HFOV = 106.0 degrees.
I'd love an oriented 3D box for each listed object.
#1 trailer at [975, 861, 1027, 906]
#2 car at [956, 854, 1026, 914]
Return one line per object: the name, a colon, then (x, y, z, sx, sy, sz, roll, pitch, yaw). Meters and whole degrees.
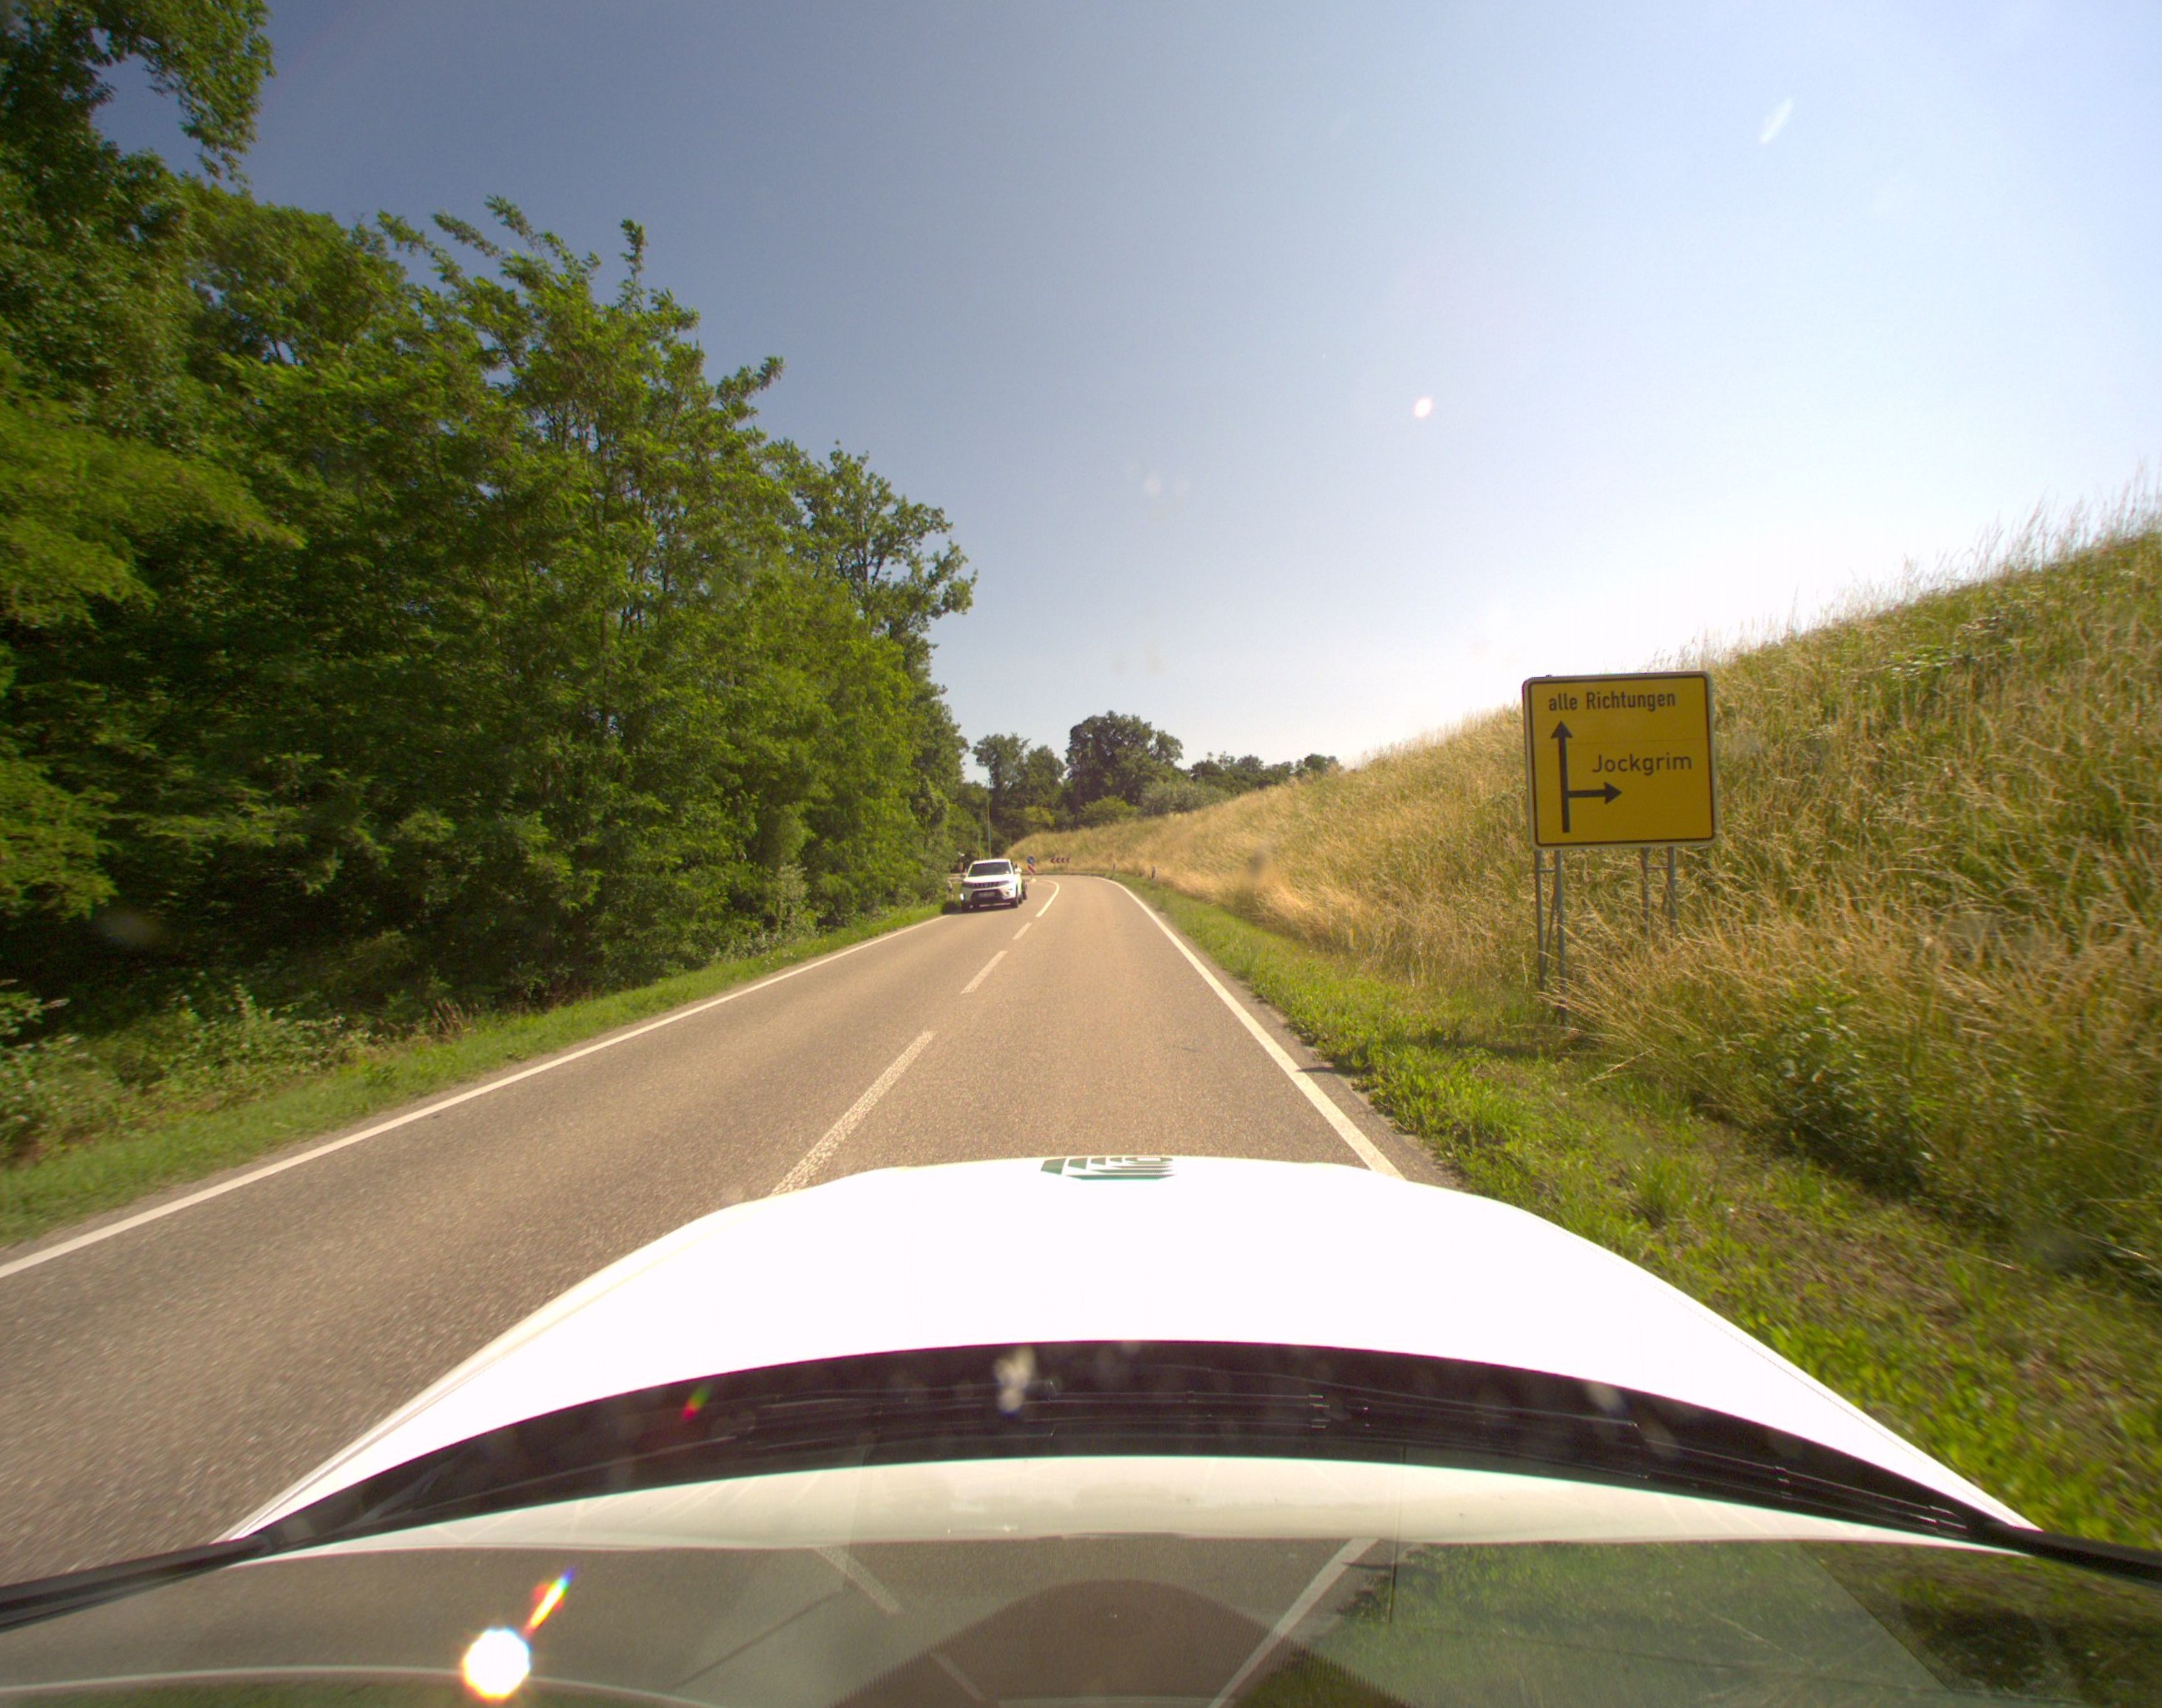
trailer: (-2.952, 1.062, 30.507, 1.555, 1.441, 3.267, -5, 0, -1)
car: (-2.877, 0.920, 26.858, 1.805, 1.676, 3.997, -5, 0, -2)
